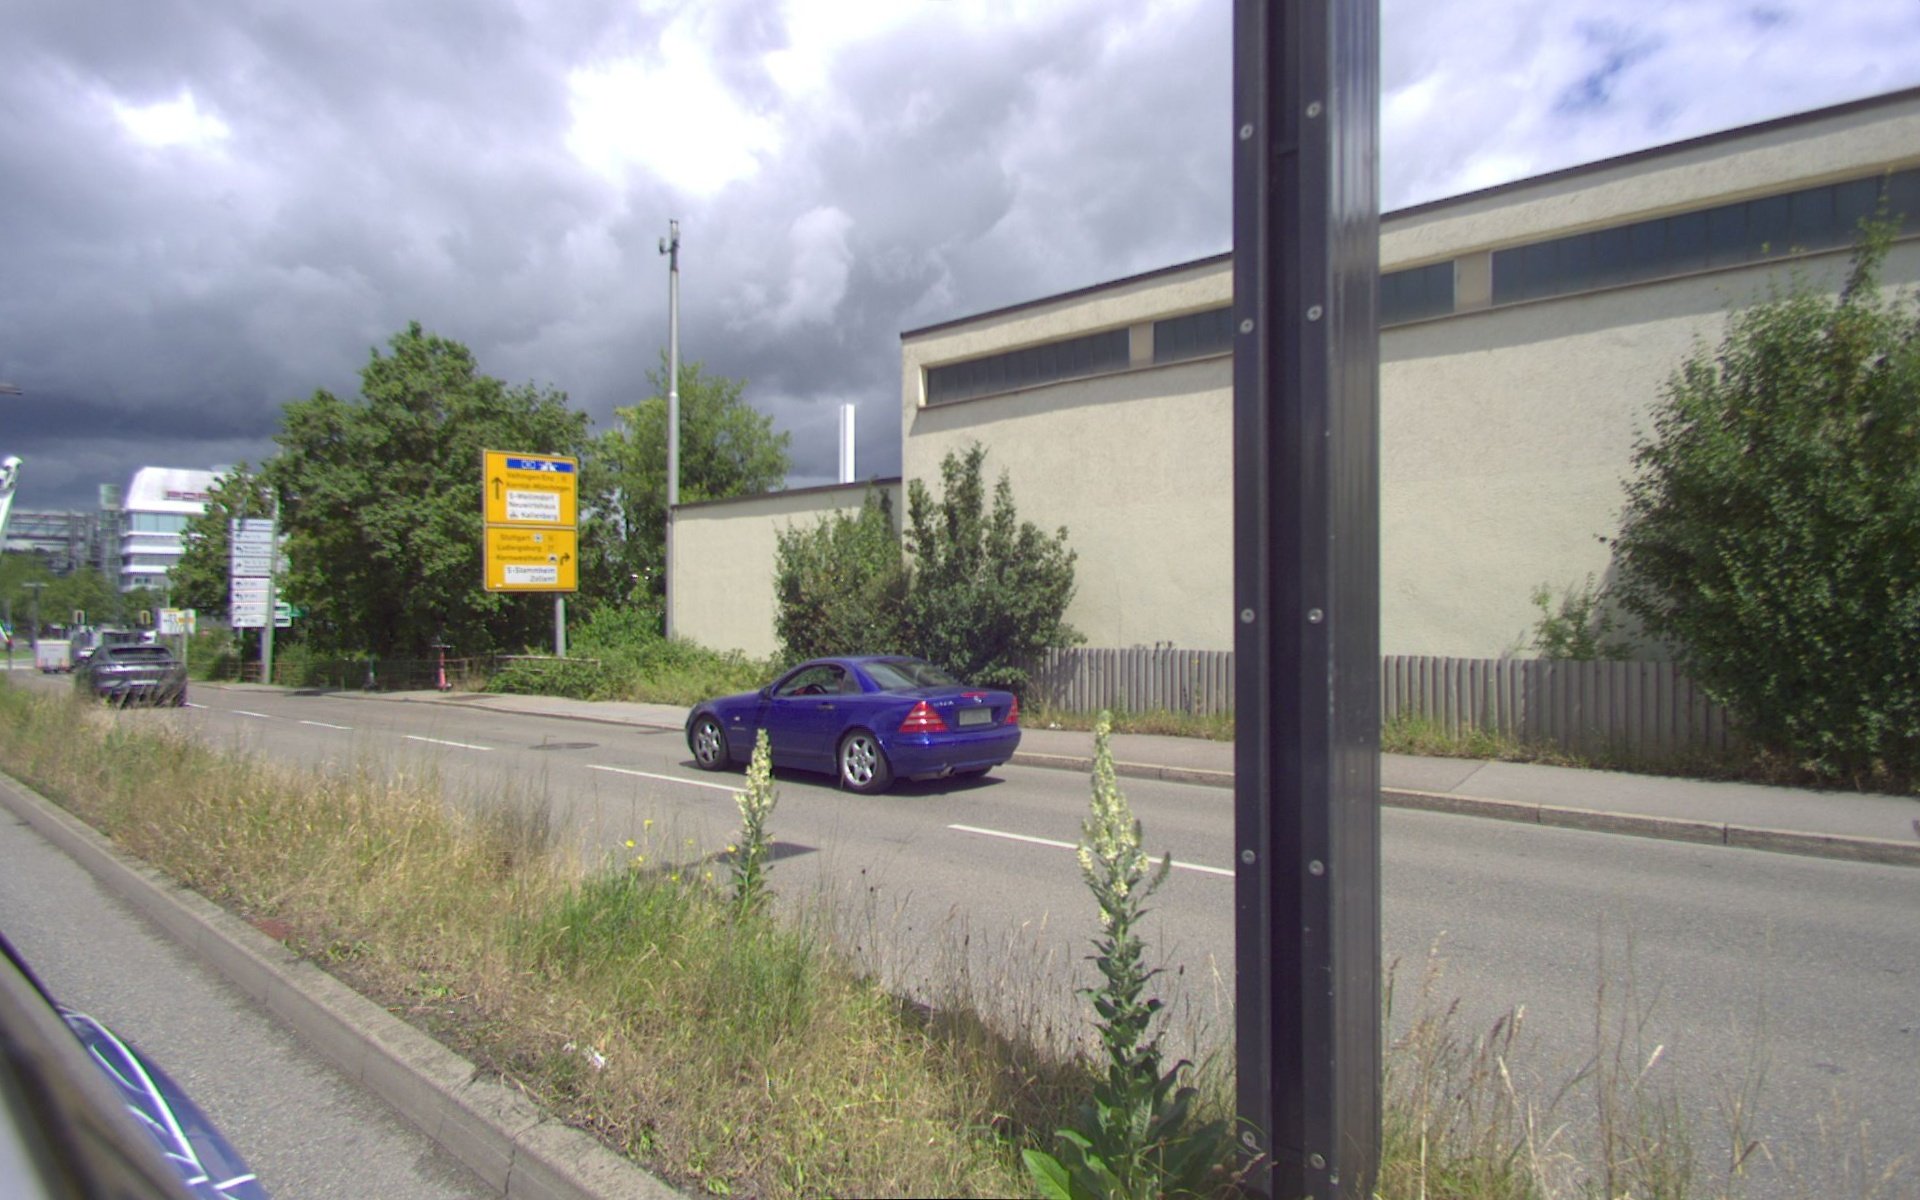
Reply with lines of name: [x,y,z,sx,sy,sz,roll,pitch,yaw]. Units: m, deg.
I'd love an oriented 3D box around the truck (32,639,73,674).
truck: [-86.028,5.418,96.039,2.820,2.879,9.388,0,-4,-41]

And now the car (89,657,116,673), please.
car: [-80.654,6.116,95.215,1.773,1.433,4.500,2,-3,-39]

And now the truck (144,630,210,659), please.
truck: [-108.048,6.148,139.695,8.907,3.595,2.350,-3,-1,16]

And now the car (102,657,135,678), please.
car: [-84.721,6.750,101.890,1.966,1.973,4.641,-1,-2,-32]

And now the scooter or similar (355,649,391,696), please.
scooter or similar: [-17.169,2.123,29.605,0.486,1.314,1.644,-2,-2,-44]

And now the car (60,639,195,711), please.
car: [-20.937,1.838,25.393,4.441,1.639,1.858,-3,-4,41]

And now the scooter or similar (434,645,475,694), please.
scooter or similar: [-13.345,1.828,26.706,0.485,1.225,1.644,1,-3,-44]

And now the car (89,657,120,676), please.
car: [-72.748,5.631,86.049,1.817,1.519,4.566,1,-3,-42]

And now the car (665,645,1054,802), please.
car: [-1.160,1.134,10.467,3.998,1.285,1.736,-2,-4,41]
